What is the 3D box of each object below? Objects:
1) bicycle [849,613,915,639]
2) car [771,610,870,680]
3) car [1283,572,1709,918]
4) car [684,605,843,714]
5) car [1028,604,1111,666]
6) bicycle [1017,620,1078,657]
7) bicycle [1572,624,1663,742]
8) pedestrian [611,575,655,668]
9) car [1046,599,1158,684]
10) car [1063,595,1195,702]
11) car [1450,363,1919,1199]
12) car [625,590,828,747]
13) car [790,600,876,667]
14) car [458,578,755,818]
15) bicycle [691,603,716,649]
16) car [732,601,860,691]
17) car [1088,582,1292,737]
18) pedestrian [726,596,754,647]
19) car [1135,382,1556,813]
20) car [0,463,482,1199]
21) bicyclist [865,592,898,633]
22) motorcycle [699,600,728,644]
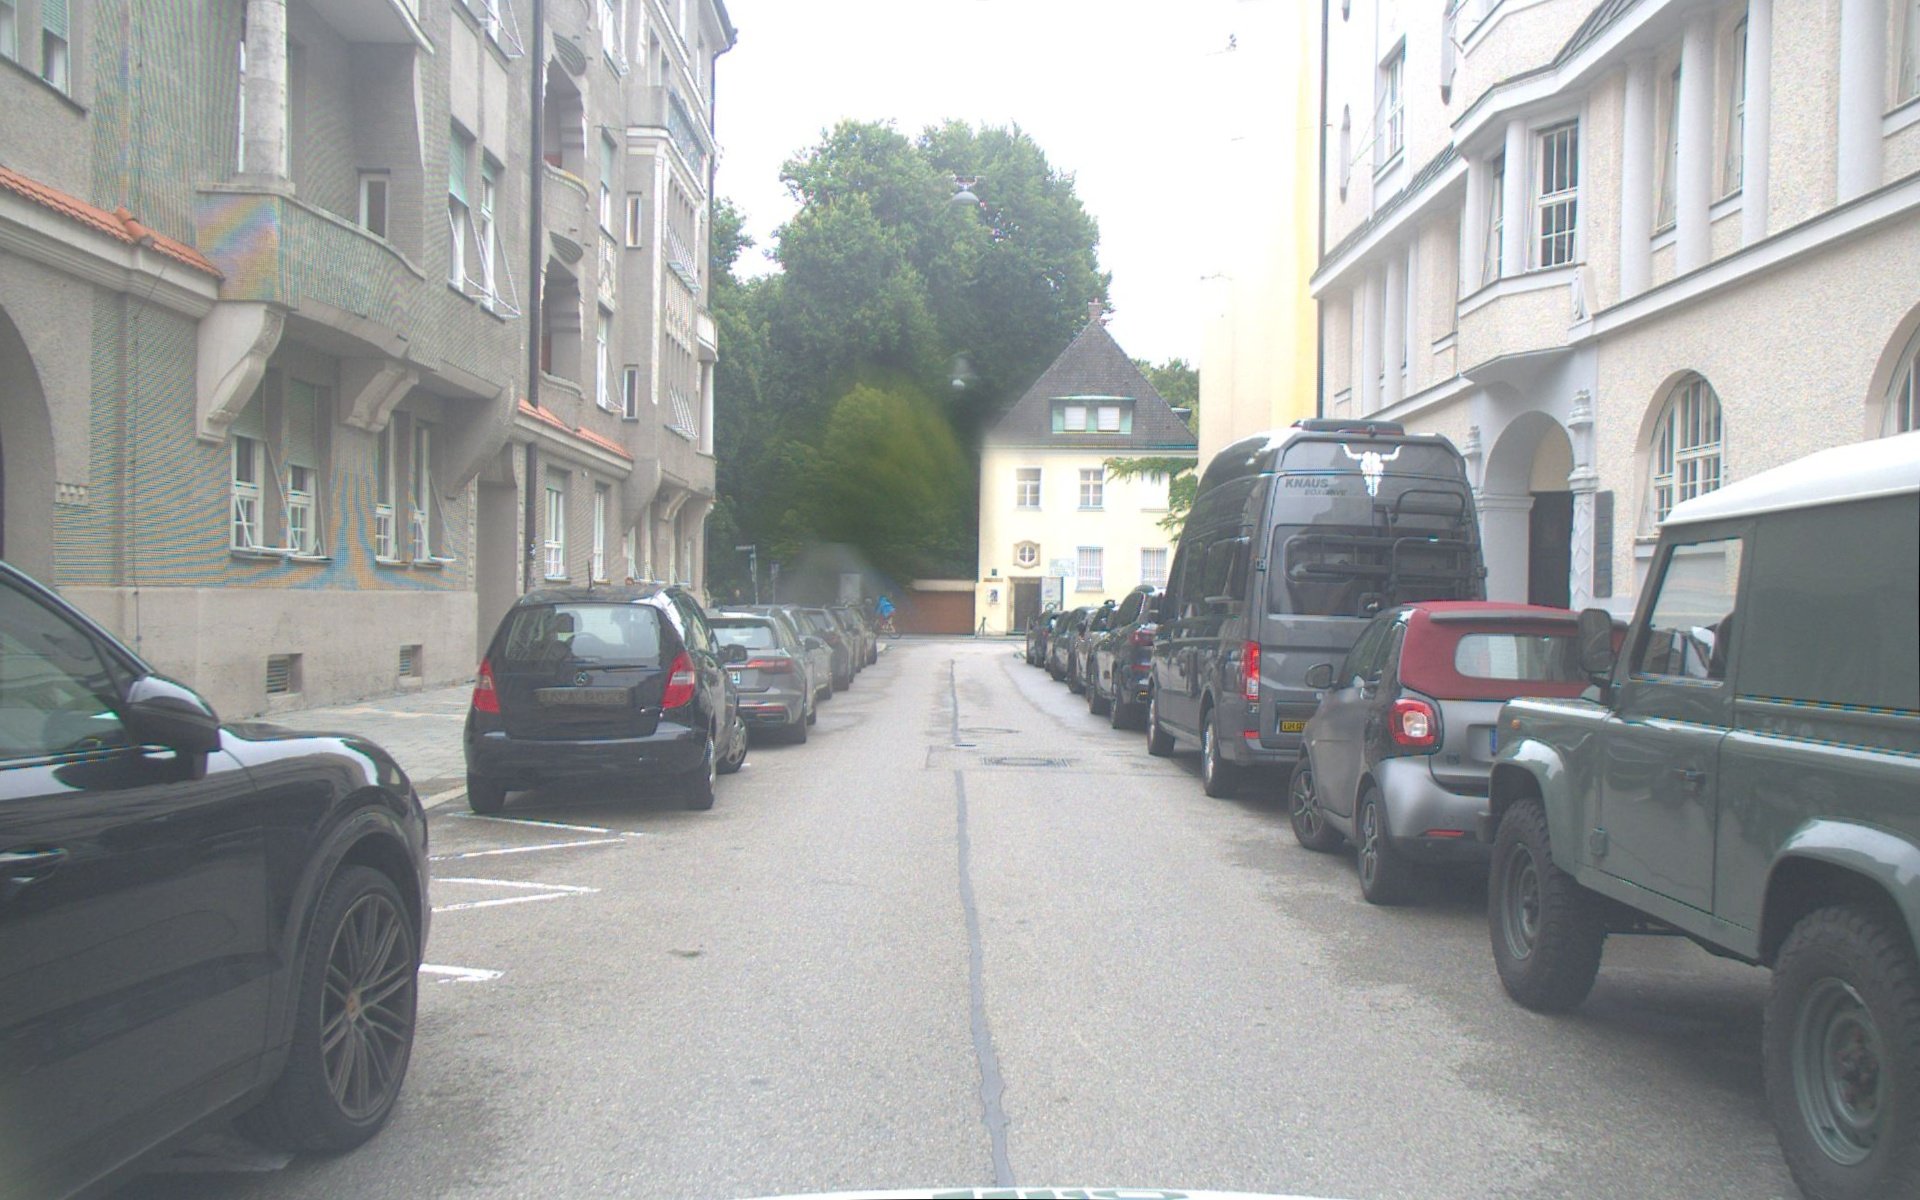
[{"bbox_3d":[-3.262,1.088,69.054,2.556,1.005,0.988,1,0,14],"label":"bicycle"},{"bbox_3d":[-2.910,0.916,35.207,1.719,1.354,4.096,1,0,0],"label":"car"},{"bbox_3d":[2.894,0.717,9.483,1.510,1.654,2.815,1,0,0],"label":"car"},{"bbox_3d":[-2.832,0.815,24.708,1.768,1.456,4.439,-1,0,1],"label":"car"},{"bbox_3d":[2.827,0.883,43.471,1.659,1.497,4.608,1,0,-2],"label":"car"},{"bbox_3d":[2.679,1.175,50.727,1.756,1.104,0.665,0,1,27],"label":"bicycle"},{"bbox_3d":[6.993,0.850,17.652,0.471,1.171,1.789,1,0,8],"label":"bicycle"},{"bbox_3d":[-6.639,0.426,33.602,0.702,1.849,0.730,1,-1,-1],"label":"pedestrian"},{"bbox_3d":[2.781,0.791,33.109,1.602,1.563,3.851,1,0,-4],"label":"car"},{"bbox_3d":[2.761,0.764,27.740,1.601,1.620,3.966,1,0,-3],"label":"car"},{"bbox_3d":[3.055,0.517,5.176,1.759,2.075,4.070,1,0,-1],"label":"car"},{"bbox_3d":[-2.506,0.684,18.751,1.800,1.540,4.606,1,0,-2],"label":"car"},{"bbox_3d":[-3.072,0.793,40.814,1.719,1.541,4.707,1,0,0],"label":"car"},{"bbox_3d":[-2.635,0.677,13.152,1.767,1.599,3.810,1,0,-4],"label":"car"},{"bbox_3d":[-7.812,0.775,50.446,0.606,1.373,1.673,1,0,-5],"label":"bicycle"},{"bbox_3d":[-2.844,0.768,29.638,1.953,1.474,4.777,1,0,-2],"label":"car"},{"bbox_3d":[2.850,0.694,21.502,1.953,1.718,4.674,2,0,0],"label":"car"},{"bbox_3d":[-7.959,0.770,59.819,0.821,1.818,0.936,1,-1,2],"label":"pedestrian"},{"bbox_3d":[3.094,0.040,14.928,2.209,3.011,6.130,2,-1,-1],"label":"car"},{"bbox_3d":[-2.567,0.612,2.893,1.910,1.688,4.619,0,0,3],"label":"car"},{"bbox_3d":[-3.282,0.538,69.064,1.100,1.680,0.988,1,-1,14],"label":"bicyclist"},{"bbox_3d":[-8.432,0.748,56.616,0.721,1.466,2.146,1,0,-2],"label":"motorcycle"}]
